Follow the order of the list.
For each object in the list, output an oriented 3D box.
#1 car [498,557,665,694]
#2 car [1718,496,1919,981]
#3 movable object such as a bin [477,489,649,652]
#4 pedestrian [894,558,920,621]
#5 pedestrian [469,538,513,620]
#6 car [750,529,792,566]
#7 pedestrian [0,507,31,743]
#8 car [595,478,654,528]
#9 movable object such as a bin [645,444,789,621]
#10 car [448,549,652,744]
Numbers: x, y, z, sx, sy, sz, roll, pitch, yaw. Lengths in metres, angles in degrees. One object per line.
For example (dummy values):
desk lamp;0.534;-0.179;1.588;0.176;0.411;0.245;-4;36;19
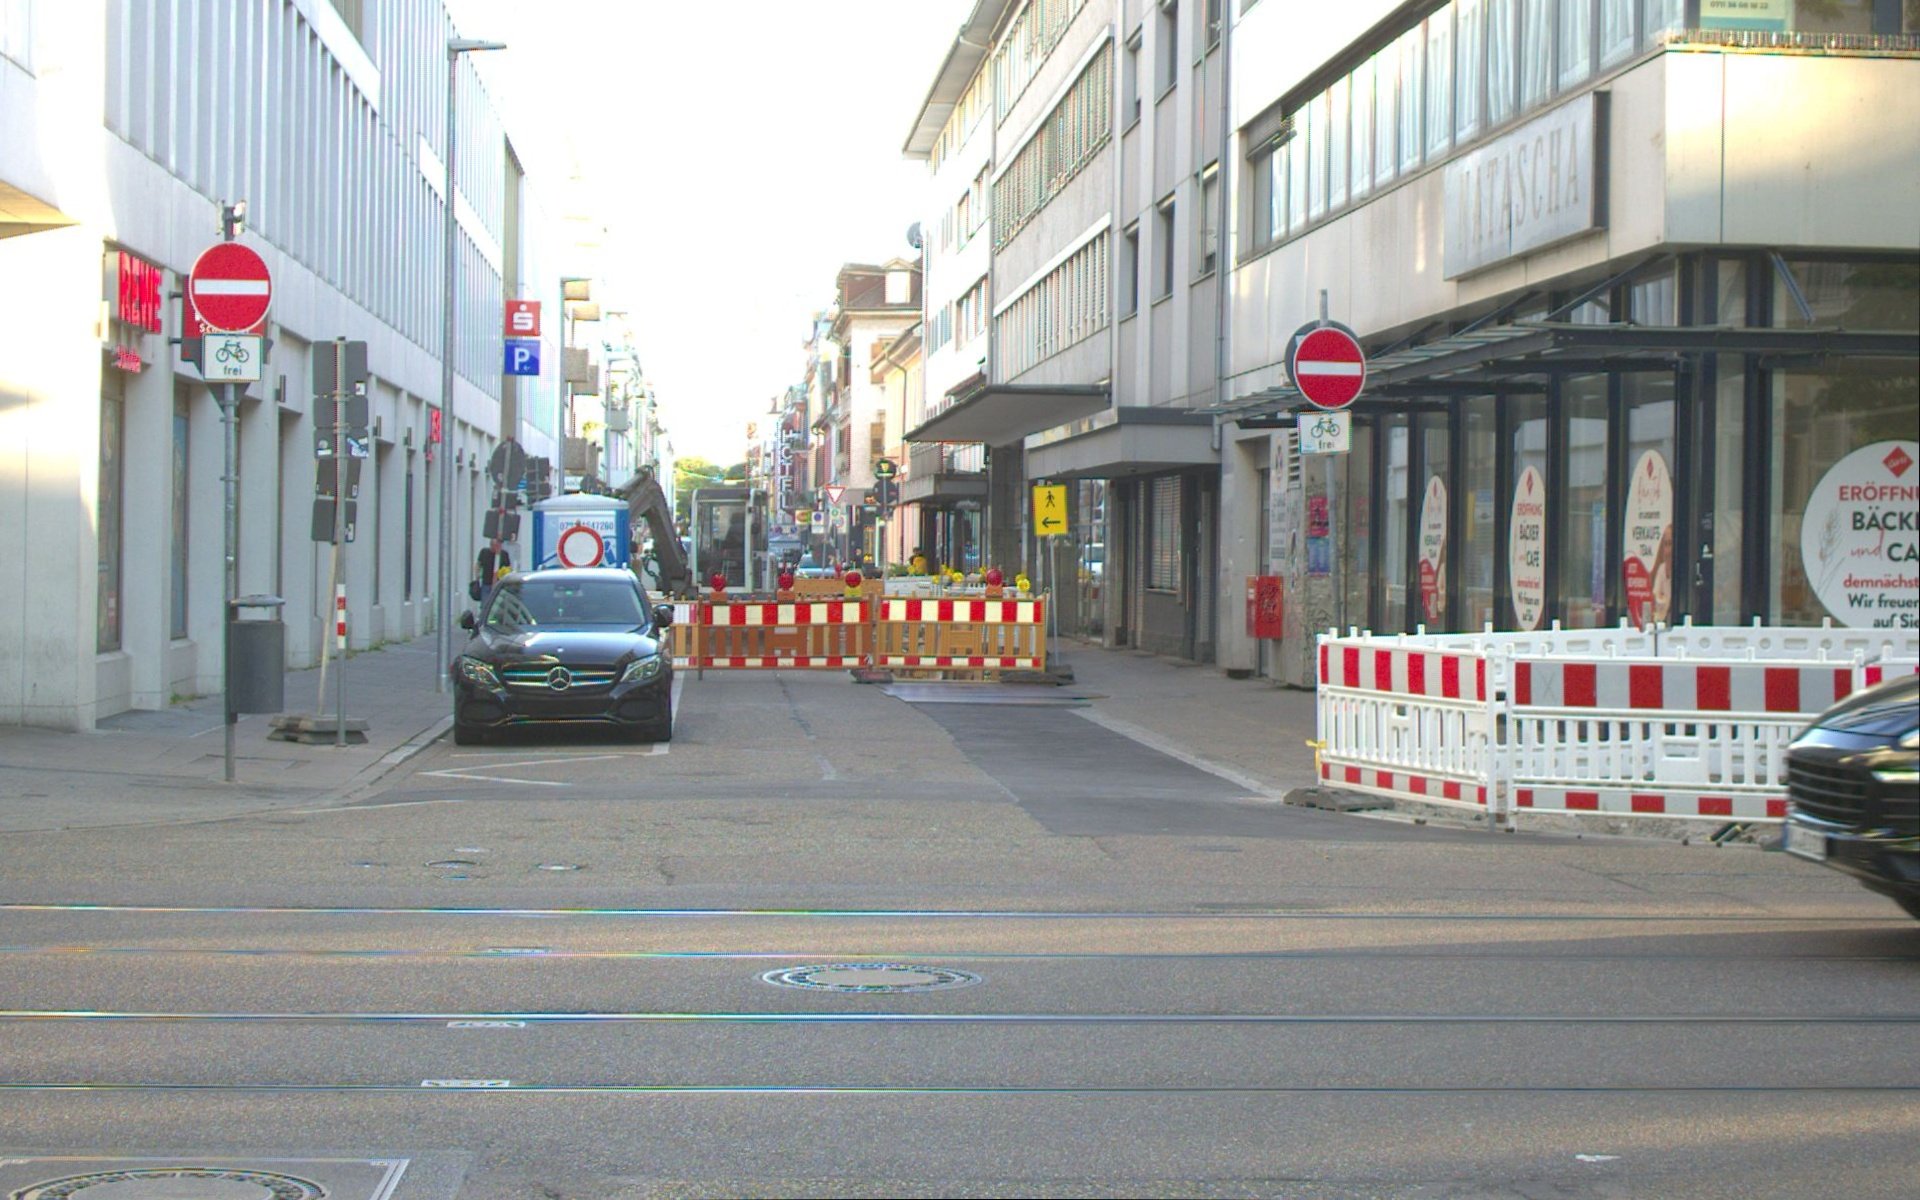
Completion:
car;-4.266;0.253;38.544;1.789;1.446;3.143;0;1;-7
car;5.680;0.524;13.370;4.929;1.720;2.022;1;1;-4
movable object such as a bin;-5.083;-0.411;44.461;1.993;2.007;4.001;0;1;-4
pedestrian;-1.254;-0.253;81.266;0.524;1.459;0.718;1;1;4
pedestrian;-8.421;-0.386;61.704;0.716;1.459;0.525;0;1;-2
car;-9.277;-2.590;168.503;1.993;1.770;4.001;0;1;-4
pedestrian;-6.953;0.170;23.877;0.610;1.622;0.872;-1;1;-45
car;-12.045;-3.482;123.673;1.993;1.770;4.001;0;1;-4
movable object such as a bin;-3.862;-1.066;54.482;2.156;2.654;4.573;1;1;-4
car;-3.503;0.351;29.245;1.629;1.545;3.143;0;1;-7
